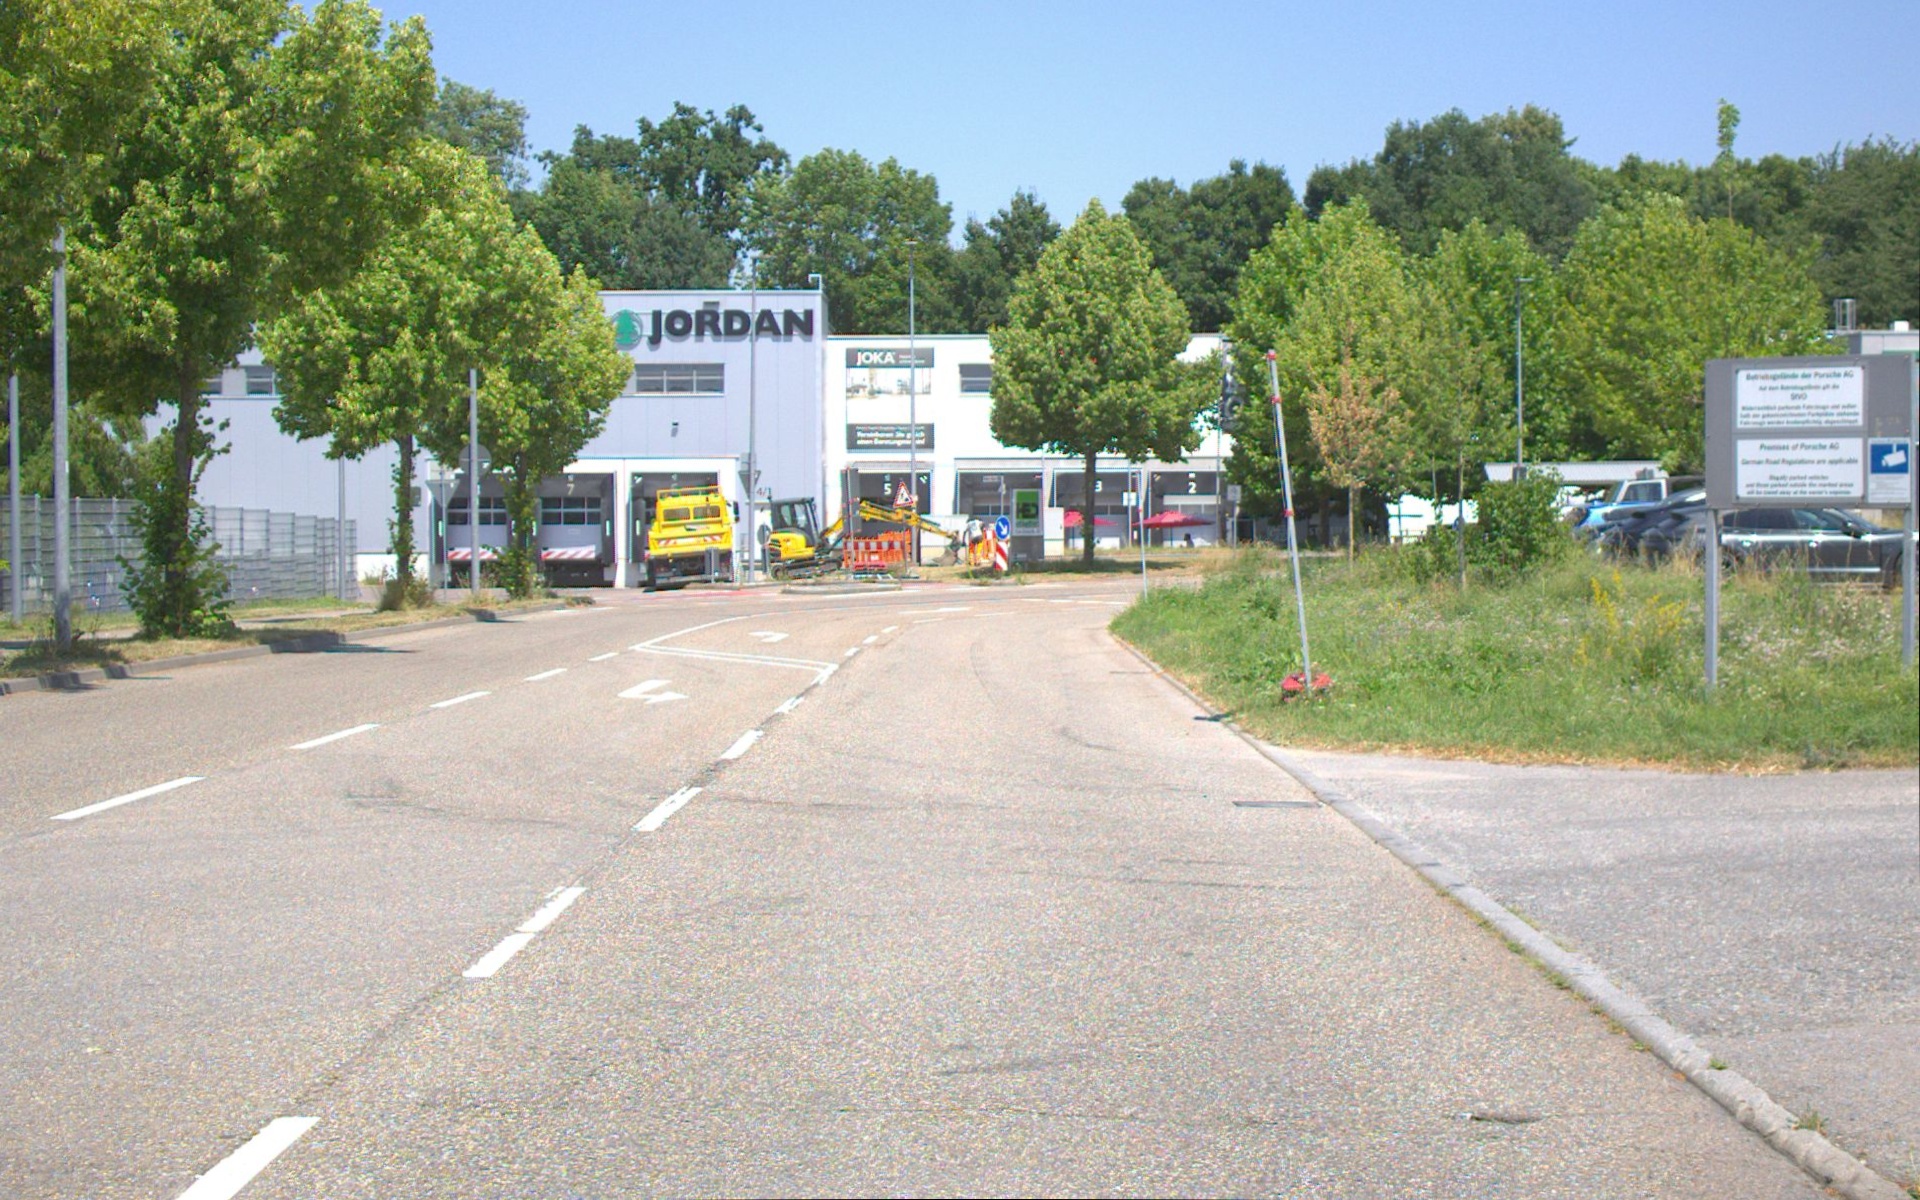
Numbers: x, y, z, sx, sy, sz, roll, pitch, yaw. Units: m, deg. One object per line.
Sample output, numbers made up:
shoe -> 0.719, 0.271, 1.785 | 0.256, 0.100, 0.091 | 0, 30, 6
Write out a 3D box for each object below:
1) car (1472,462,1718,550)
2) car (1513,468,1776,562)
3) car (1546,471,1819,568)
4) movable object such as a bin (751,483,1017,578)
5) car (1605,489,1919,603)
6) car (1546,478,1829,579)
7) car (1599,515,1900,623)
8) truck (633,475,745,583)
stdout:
car -> 11.736, -1.759, 63.718 | 4.162, 1.395, 1.769 | -2, 5, -3
car -> 11.913, -1.502, 59.987 | 4.162, 1.395, 1.769 | -2, 5, -3
car -> 12.136, -1.364, 57.868 | 4.162, 1.395, 1.769 | -2, 5, -3
movable object such as a bin -> -2.257, -2.128, 104.882 | 7.528, 2.491, 3.666 | -1, 5, 9
car -> 11.885, -0.796, 49.902 | 4.704, 1.395, 1.922 | -2, 5, 3
car -> 11.765, -1.176, 55.734 | 4.162, 1.395, 1.769 | -2, 5, -3
car -> 12.079, -0.492, 52.749 | 4.162, 1.395, 1.769 | -2, 5, -3
truck -> -8.336, -2.219, 105.238 | 2.938, 2.875, 5.812 | -2, 5, -8
